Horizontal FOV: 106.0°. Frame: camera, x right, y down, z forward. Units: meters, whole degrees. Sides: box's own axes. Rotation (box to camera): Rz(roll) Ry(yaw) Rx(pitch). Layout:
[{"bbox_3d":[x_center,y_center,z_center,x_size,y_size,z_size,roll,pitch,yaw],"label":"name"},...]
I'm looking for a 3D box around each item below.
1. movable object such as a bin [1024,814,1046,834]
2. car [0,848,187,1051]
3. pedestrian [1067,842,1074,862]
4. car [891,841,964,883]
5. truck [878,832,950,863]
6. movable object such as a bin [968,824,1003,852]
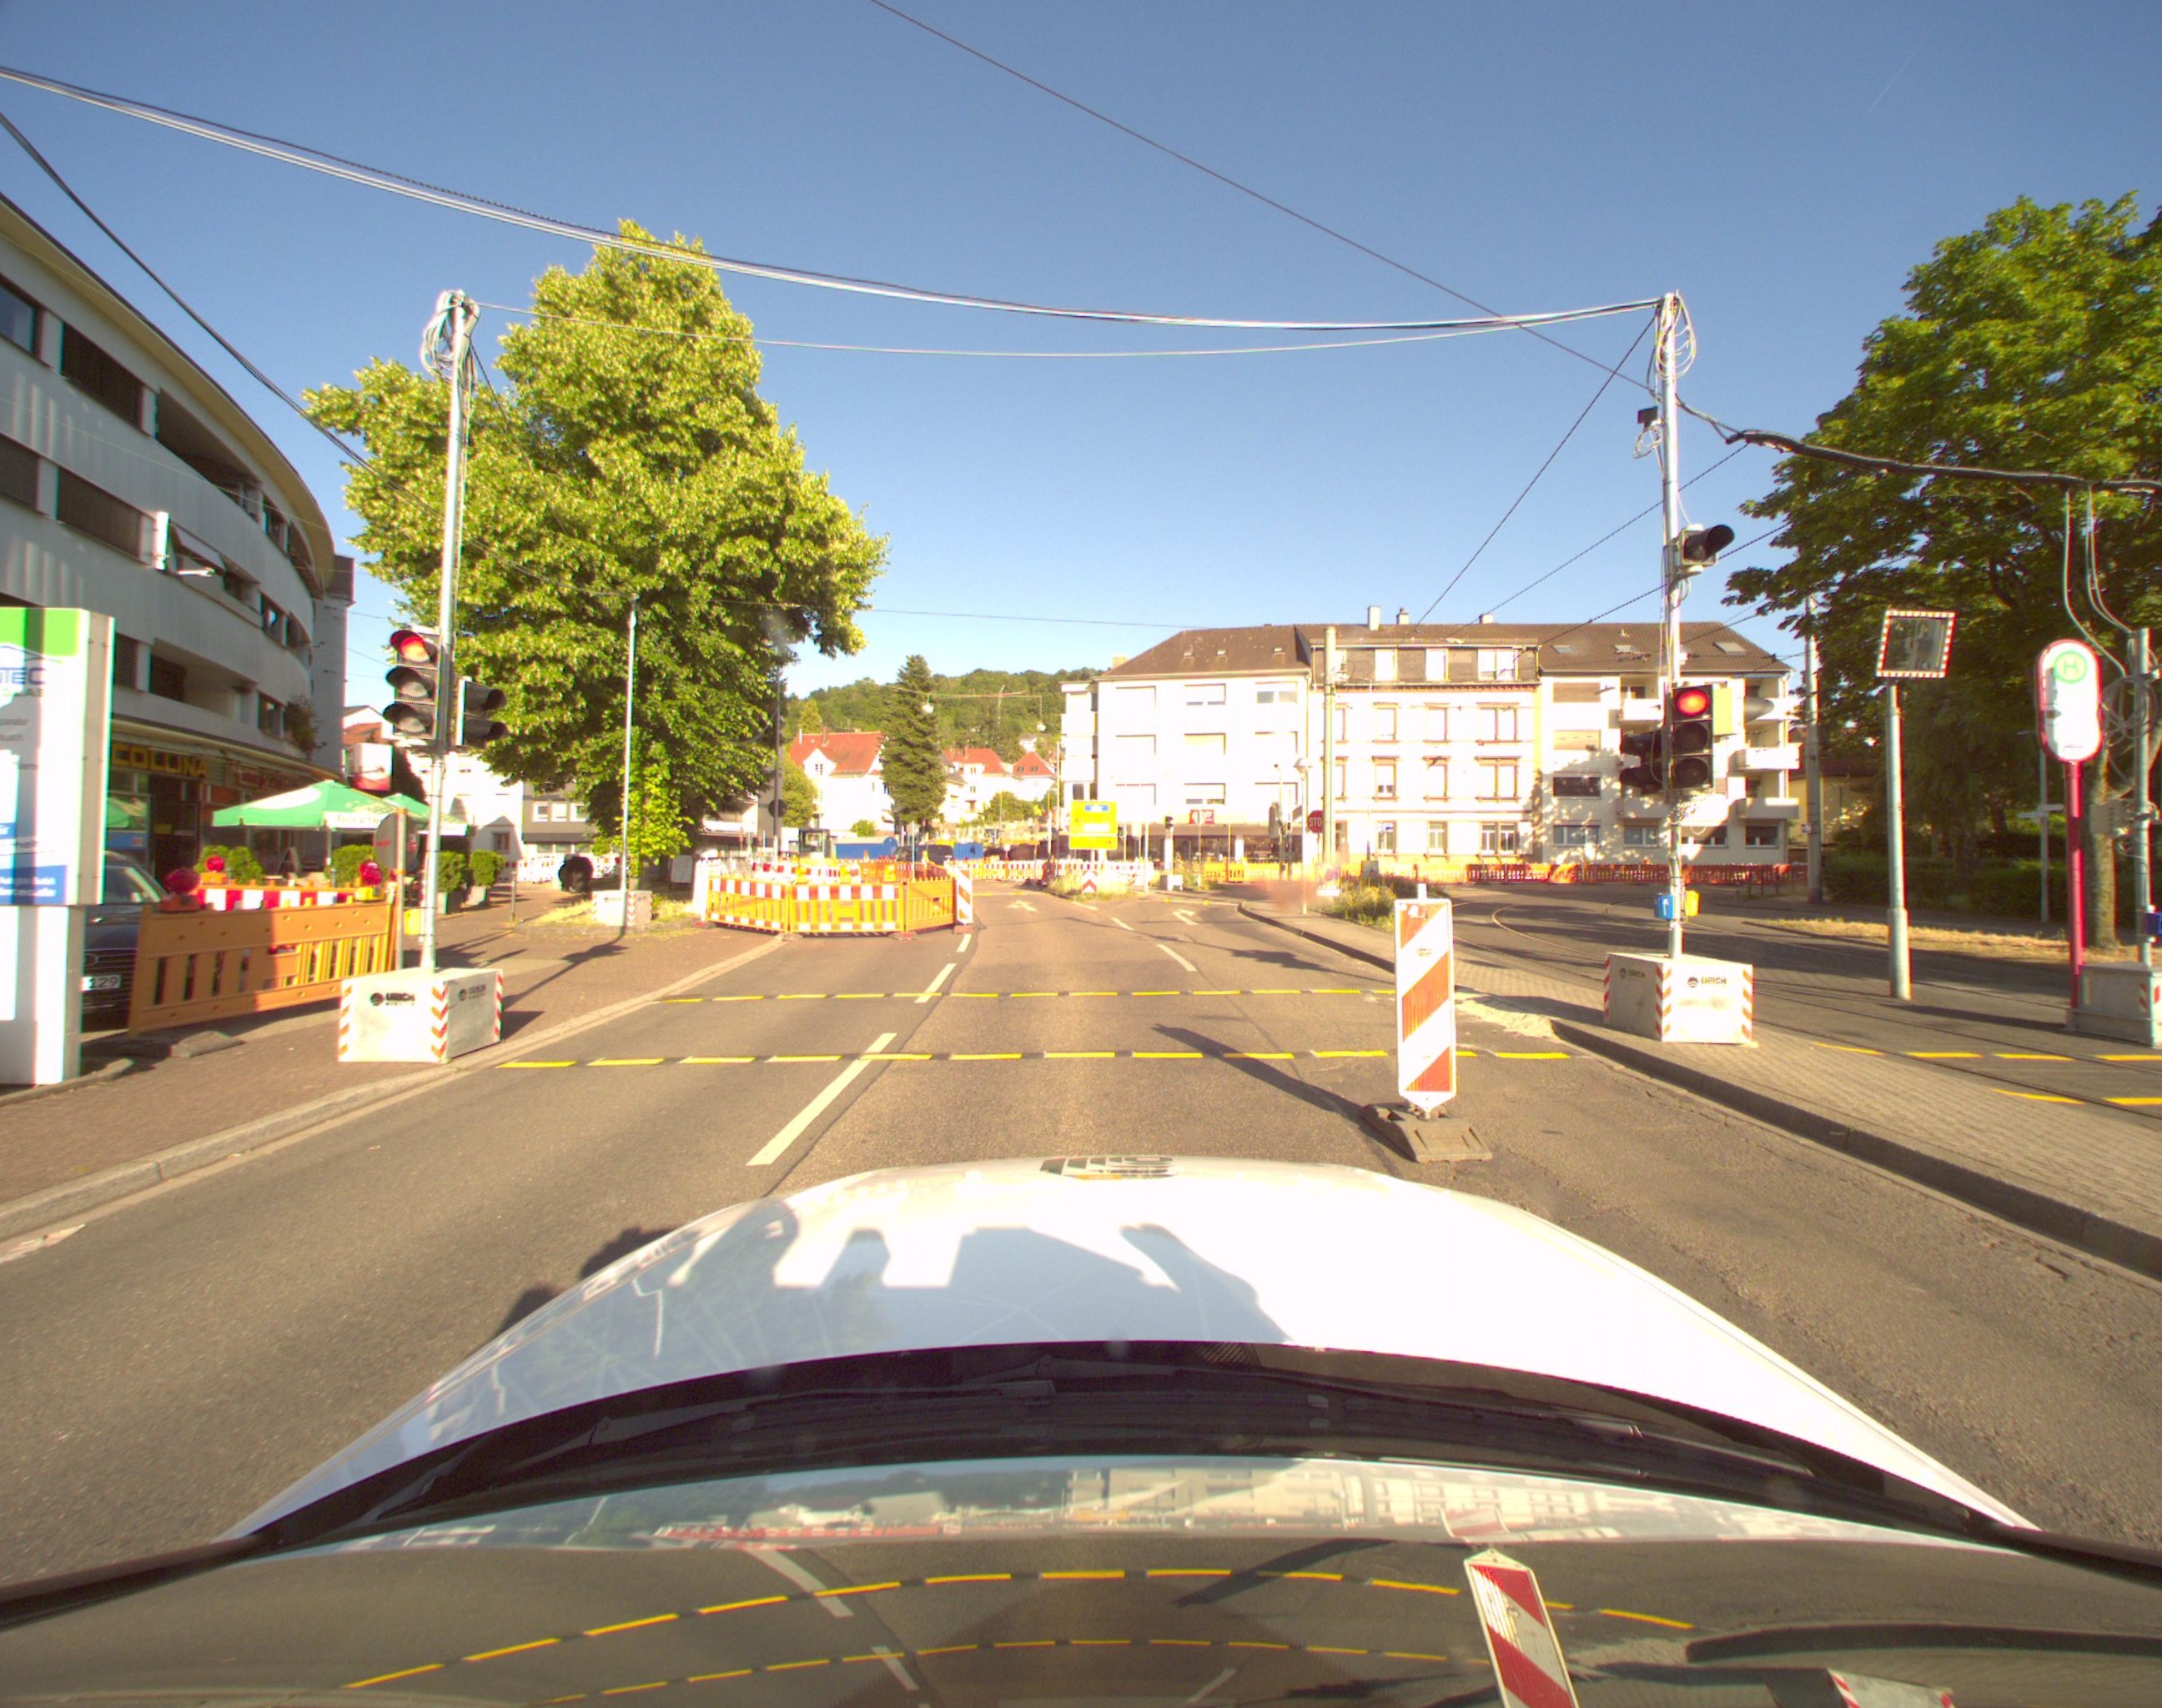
[{"bbox_3d":[-6.440,-4.150,114.204,2.176,2.690,4.013,0,0,12],"label":"movable object such as a bin"},{"bbox_3d":[-9.602,0.710,7.548,4.246,1.454,1.660,1,0,43],"label":"car"},{"bbox_3d":[-0.911,-0.146,71.348,0.638,1.760,0.718,0,0,1],"label":"pedestrian"},{"bbox_3d":[-8.246,0.361,43.415,2.076,2.013,4.949,1,2,-33],"label":"car"},{"bbox_3d":[-13.994,-0.503,69.189,2.340,2.416,9.184,0,0,13],"label":"truck"},{"bbox_3d":[-9.339,-1.523,79.924,2.176,2.690,4.013,0,0,12],"label":"movable object such as a bin"}]
